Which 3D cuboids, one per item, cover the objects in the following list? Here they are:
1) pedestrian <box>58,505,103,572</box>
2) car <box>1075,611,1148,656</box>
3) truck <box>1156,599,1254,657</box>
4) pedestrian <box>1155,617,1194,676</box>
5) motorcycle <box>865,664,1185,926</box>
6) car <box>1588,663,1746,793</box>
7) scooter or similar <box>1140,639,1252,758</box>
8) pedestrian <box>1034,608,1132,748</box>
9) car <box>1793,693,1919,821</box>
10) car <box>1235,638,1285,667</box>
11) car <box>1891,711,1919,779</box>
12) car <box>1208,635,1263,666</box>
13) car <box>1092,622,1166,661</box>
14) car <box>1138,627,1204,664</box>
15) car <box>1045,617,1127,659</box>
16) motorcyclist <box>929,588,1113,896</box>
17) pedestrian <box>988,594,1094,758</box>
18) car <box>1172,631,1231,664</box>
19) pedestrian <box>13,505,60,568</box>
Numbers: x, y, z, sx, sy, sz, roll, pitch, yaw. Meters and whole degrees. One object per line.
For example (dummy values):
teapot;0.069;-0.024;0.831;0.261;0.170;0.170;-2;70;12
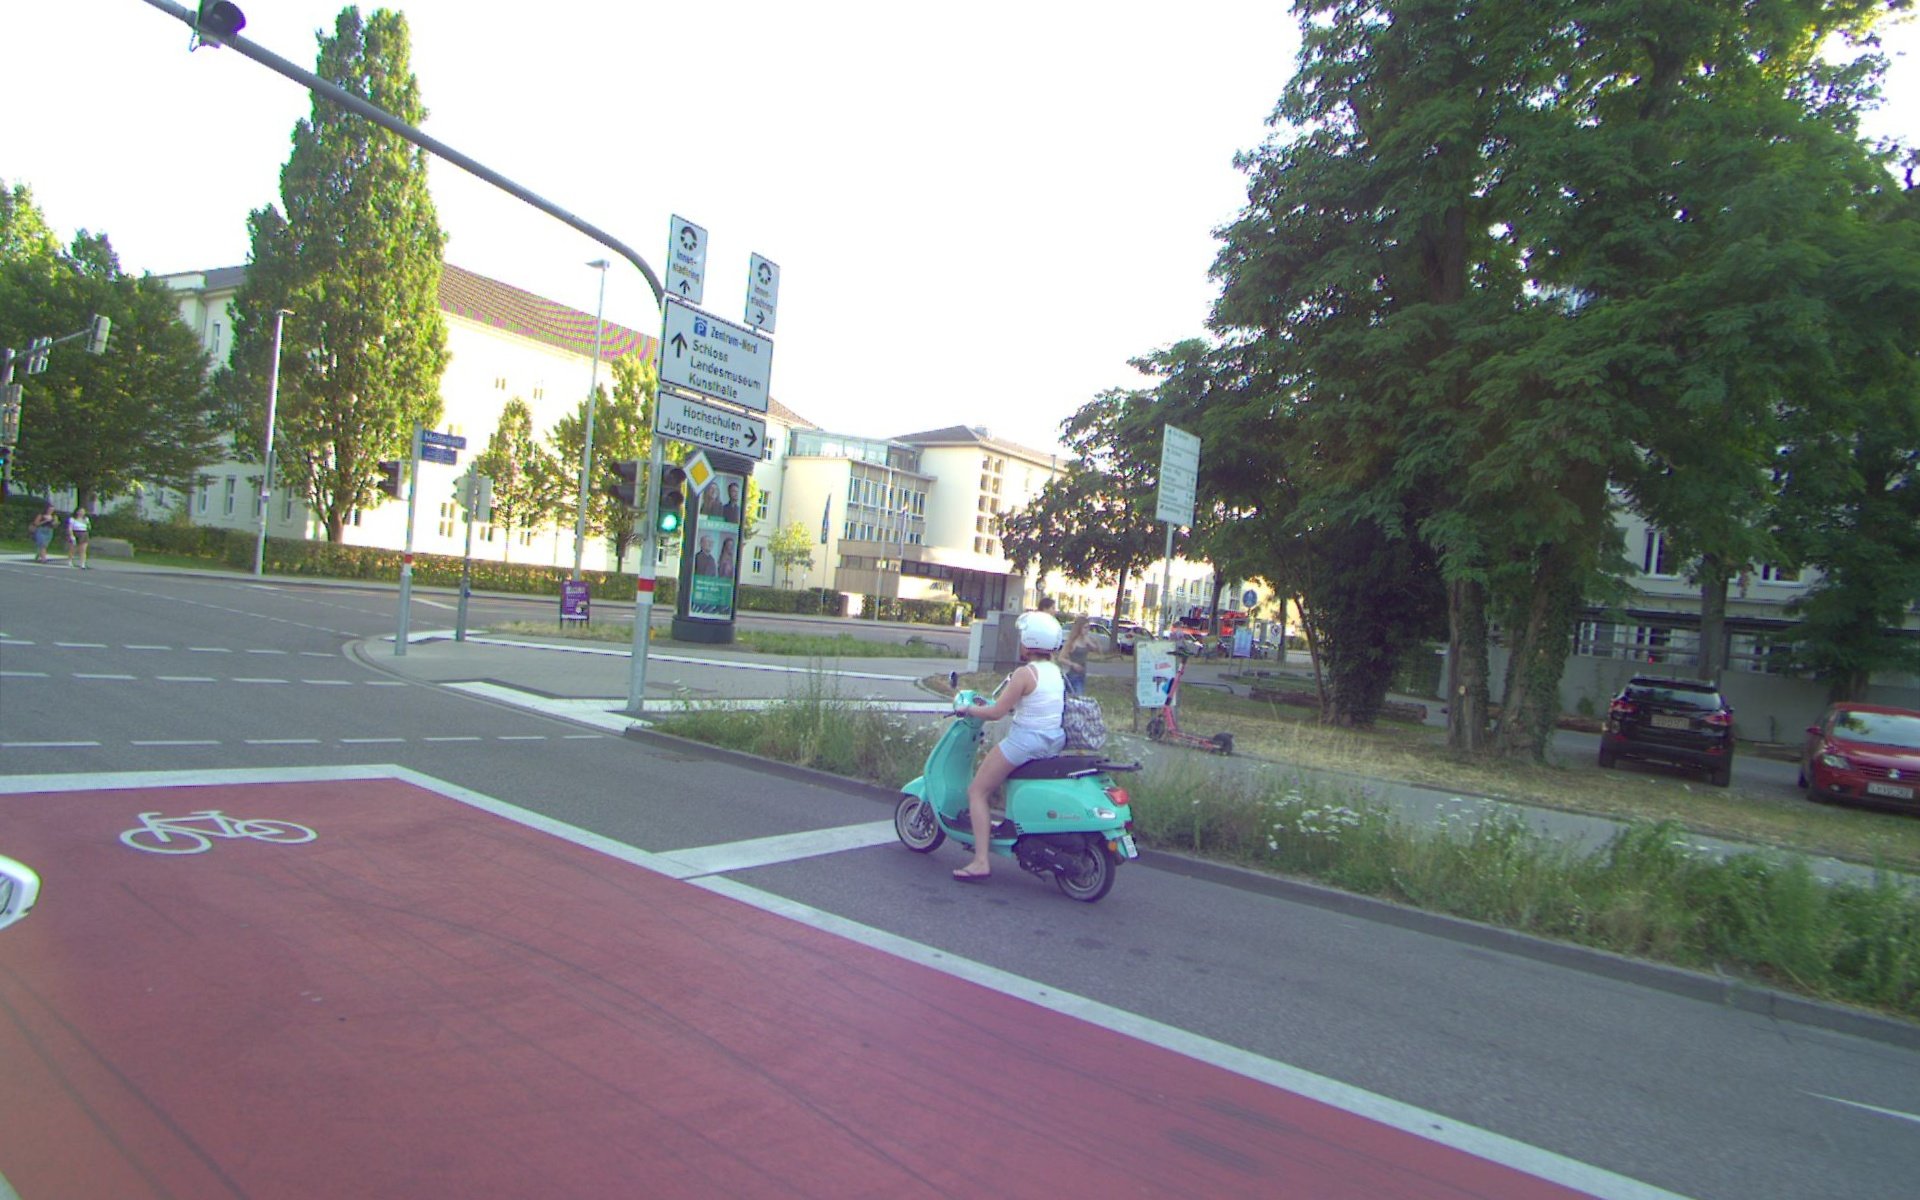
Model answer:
pedestrian;-24.845;-1.736;28.423;0.677;1.776;0.681;7;2;31
car;8.311;1.863;54.920;2.024;1.884;4.486;6;-2;35
truck;16.497;1.965;67.013;2.600;3.179;10.243;6;-1;35
pedestrian;6.764;1.463;31.744;0.694;1.761;0.892;7;1;40
motorcycle;0.356;1.132;6.364;1.867;1.212;0.681;6;0;40
car;12.368;2.126;17.592;1.890;1.762;4.223;6;0;37
scooter or similar;2.905;1.195;12.411;1.159;1.288;0.440;6;1;31
pedestrian;1.472;0.915;12.044;0.776;1.542;0.735;6;1;34
car;14.654;2.429;16.014;1.890;1.631;3.983;6;0;38
car;20.241;3.563;67.846;1.969;1.660;3.987;6;0;35
car;23.604;3.542;23.680;1.742;1.477;3.618;6;0;33
car;17.318;3.200;63.169;1.969;1.660;3.987;6;0;35
car;8.575;2.101;50.919;1.970;1.632;3.985;6;0;37
car;11.539;2.498;54.852;1.969;1.660;3.987;6;0;35
car;5.954;1.811;47.213;1.873;1.660;3.983;6;0;38
motorcyclist;0.392;0.857;6.362;0.680;1.758;0.737;7;1;40
pedestrian;0.898;0.825;11.158;0.764;1.681;0.719;6;1;35
car;14.332;2.836;59.589;1.969;1.660;3.987;6;0;35
pedestrian;-25.686;-1.768;27.972;0.831;1.643;0.681;7;2;32
